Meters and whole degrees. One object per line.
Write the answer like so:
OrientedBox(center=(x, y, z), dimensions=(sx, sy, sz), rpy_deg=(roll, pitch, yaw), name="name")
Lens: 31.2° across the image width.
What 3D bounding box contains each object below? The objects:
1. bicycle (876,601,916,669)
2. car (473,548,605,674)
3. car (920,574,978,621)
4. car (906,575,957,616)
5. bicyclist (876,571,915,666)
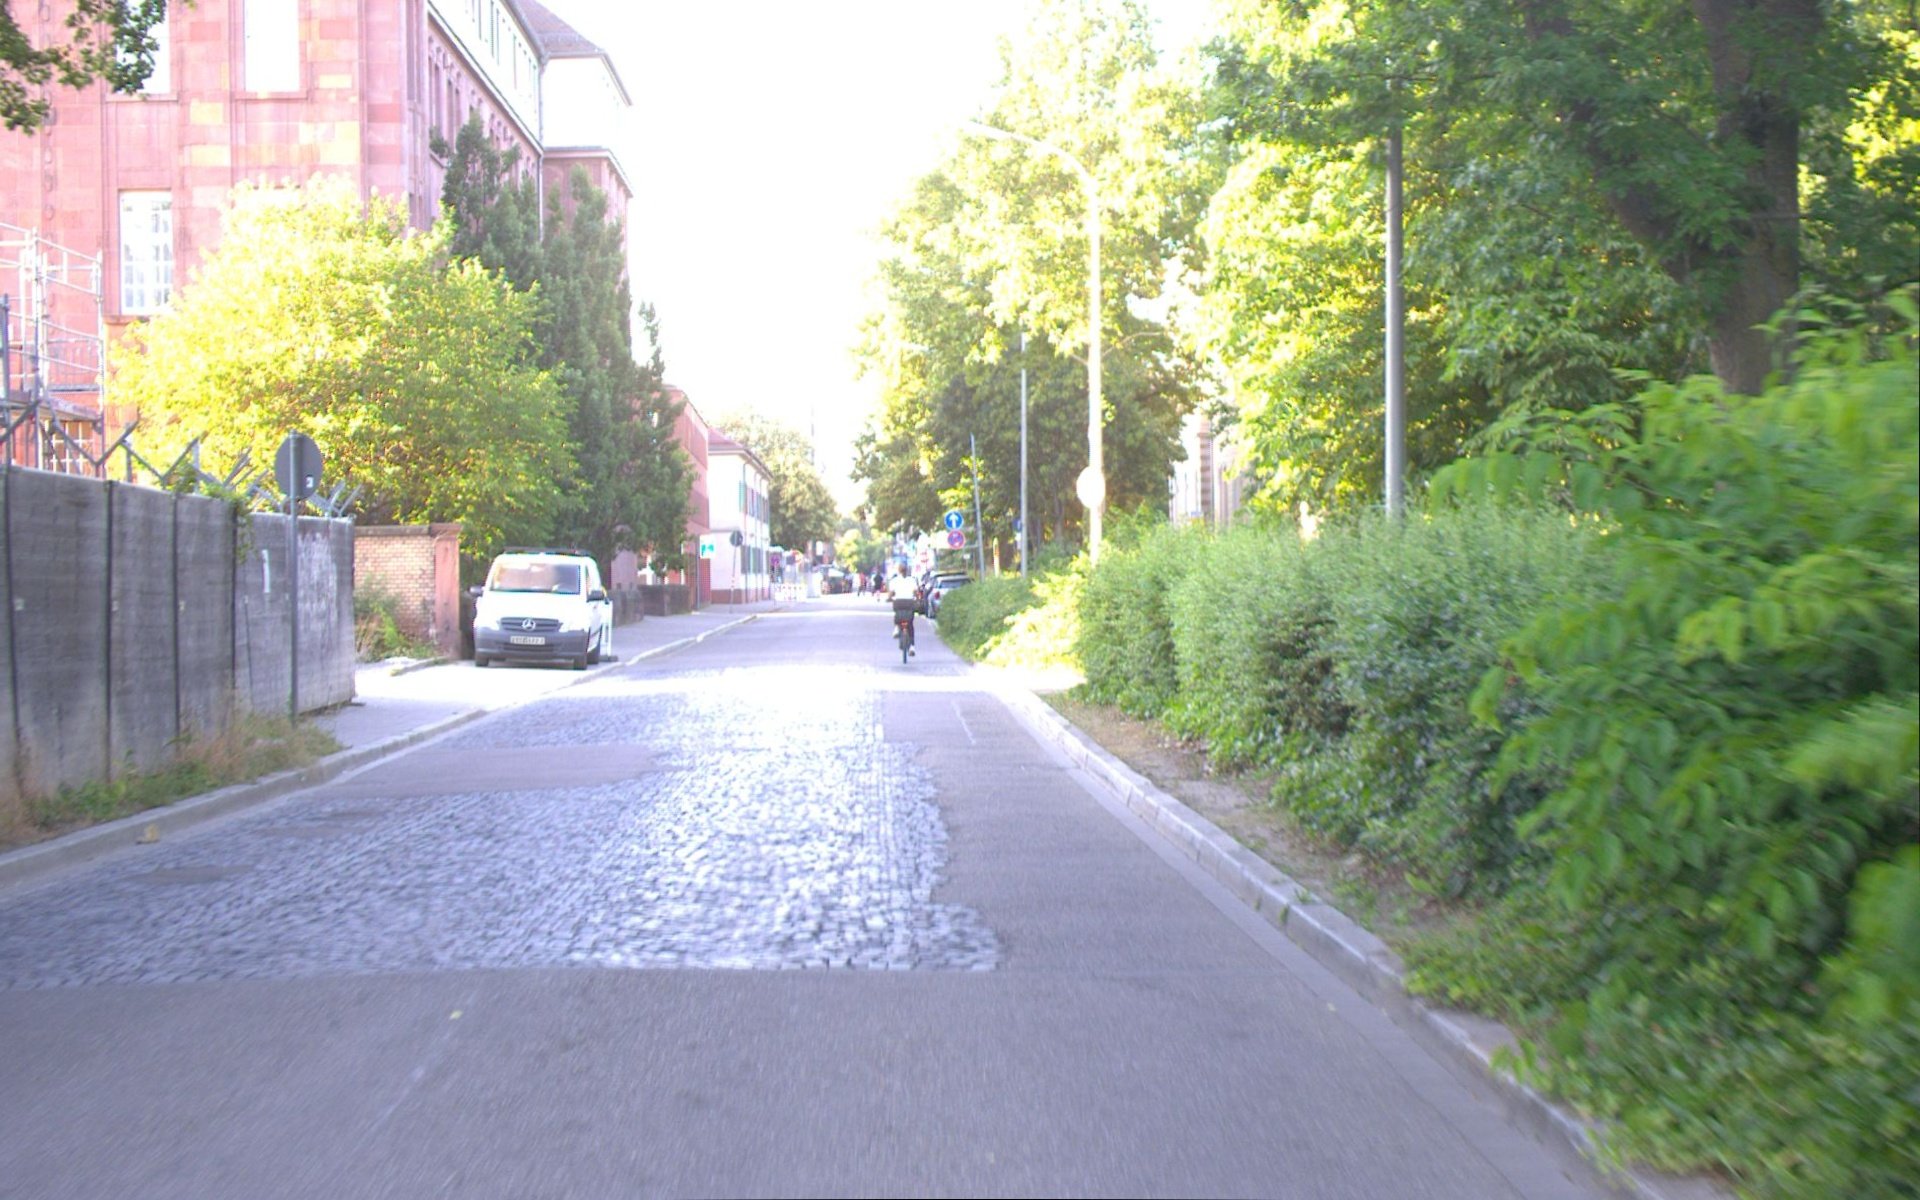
OrientedBox(center=(-1.150, 0.620, 61.364), dimensions=(0.638, 1.189, 1.876), rpy_deg=(1, 0, -3), name="bicycle")
OrientedBox(center=(-7.112, 0.216, 58.510), dimensions=(1.882, 2.007, 5.226), rpy_deg=(1, -1, -3), name="car")
OrientedBox(center=(-0.386, -0.077, 118.033), dimensions=(1.685, 1.442, 3.672), rpy_deg=(-3, -1, -3), name="car")
OrientedBox(center=(-1.110, -0.163, 131.984), dimensions=(1.715, 1.532, 4.049), rpy_deg=(-1, 0, -3), name="car")
OrientedBox(center=(-1.147, 0.328, 61.370), dimensions=(0.639, 1.662, 0.843), rpy_deg=(1, 0, -3), name="bicyclist")
